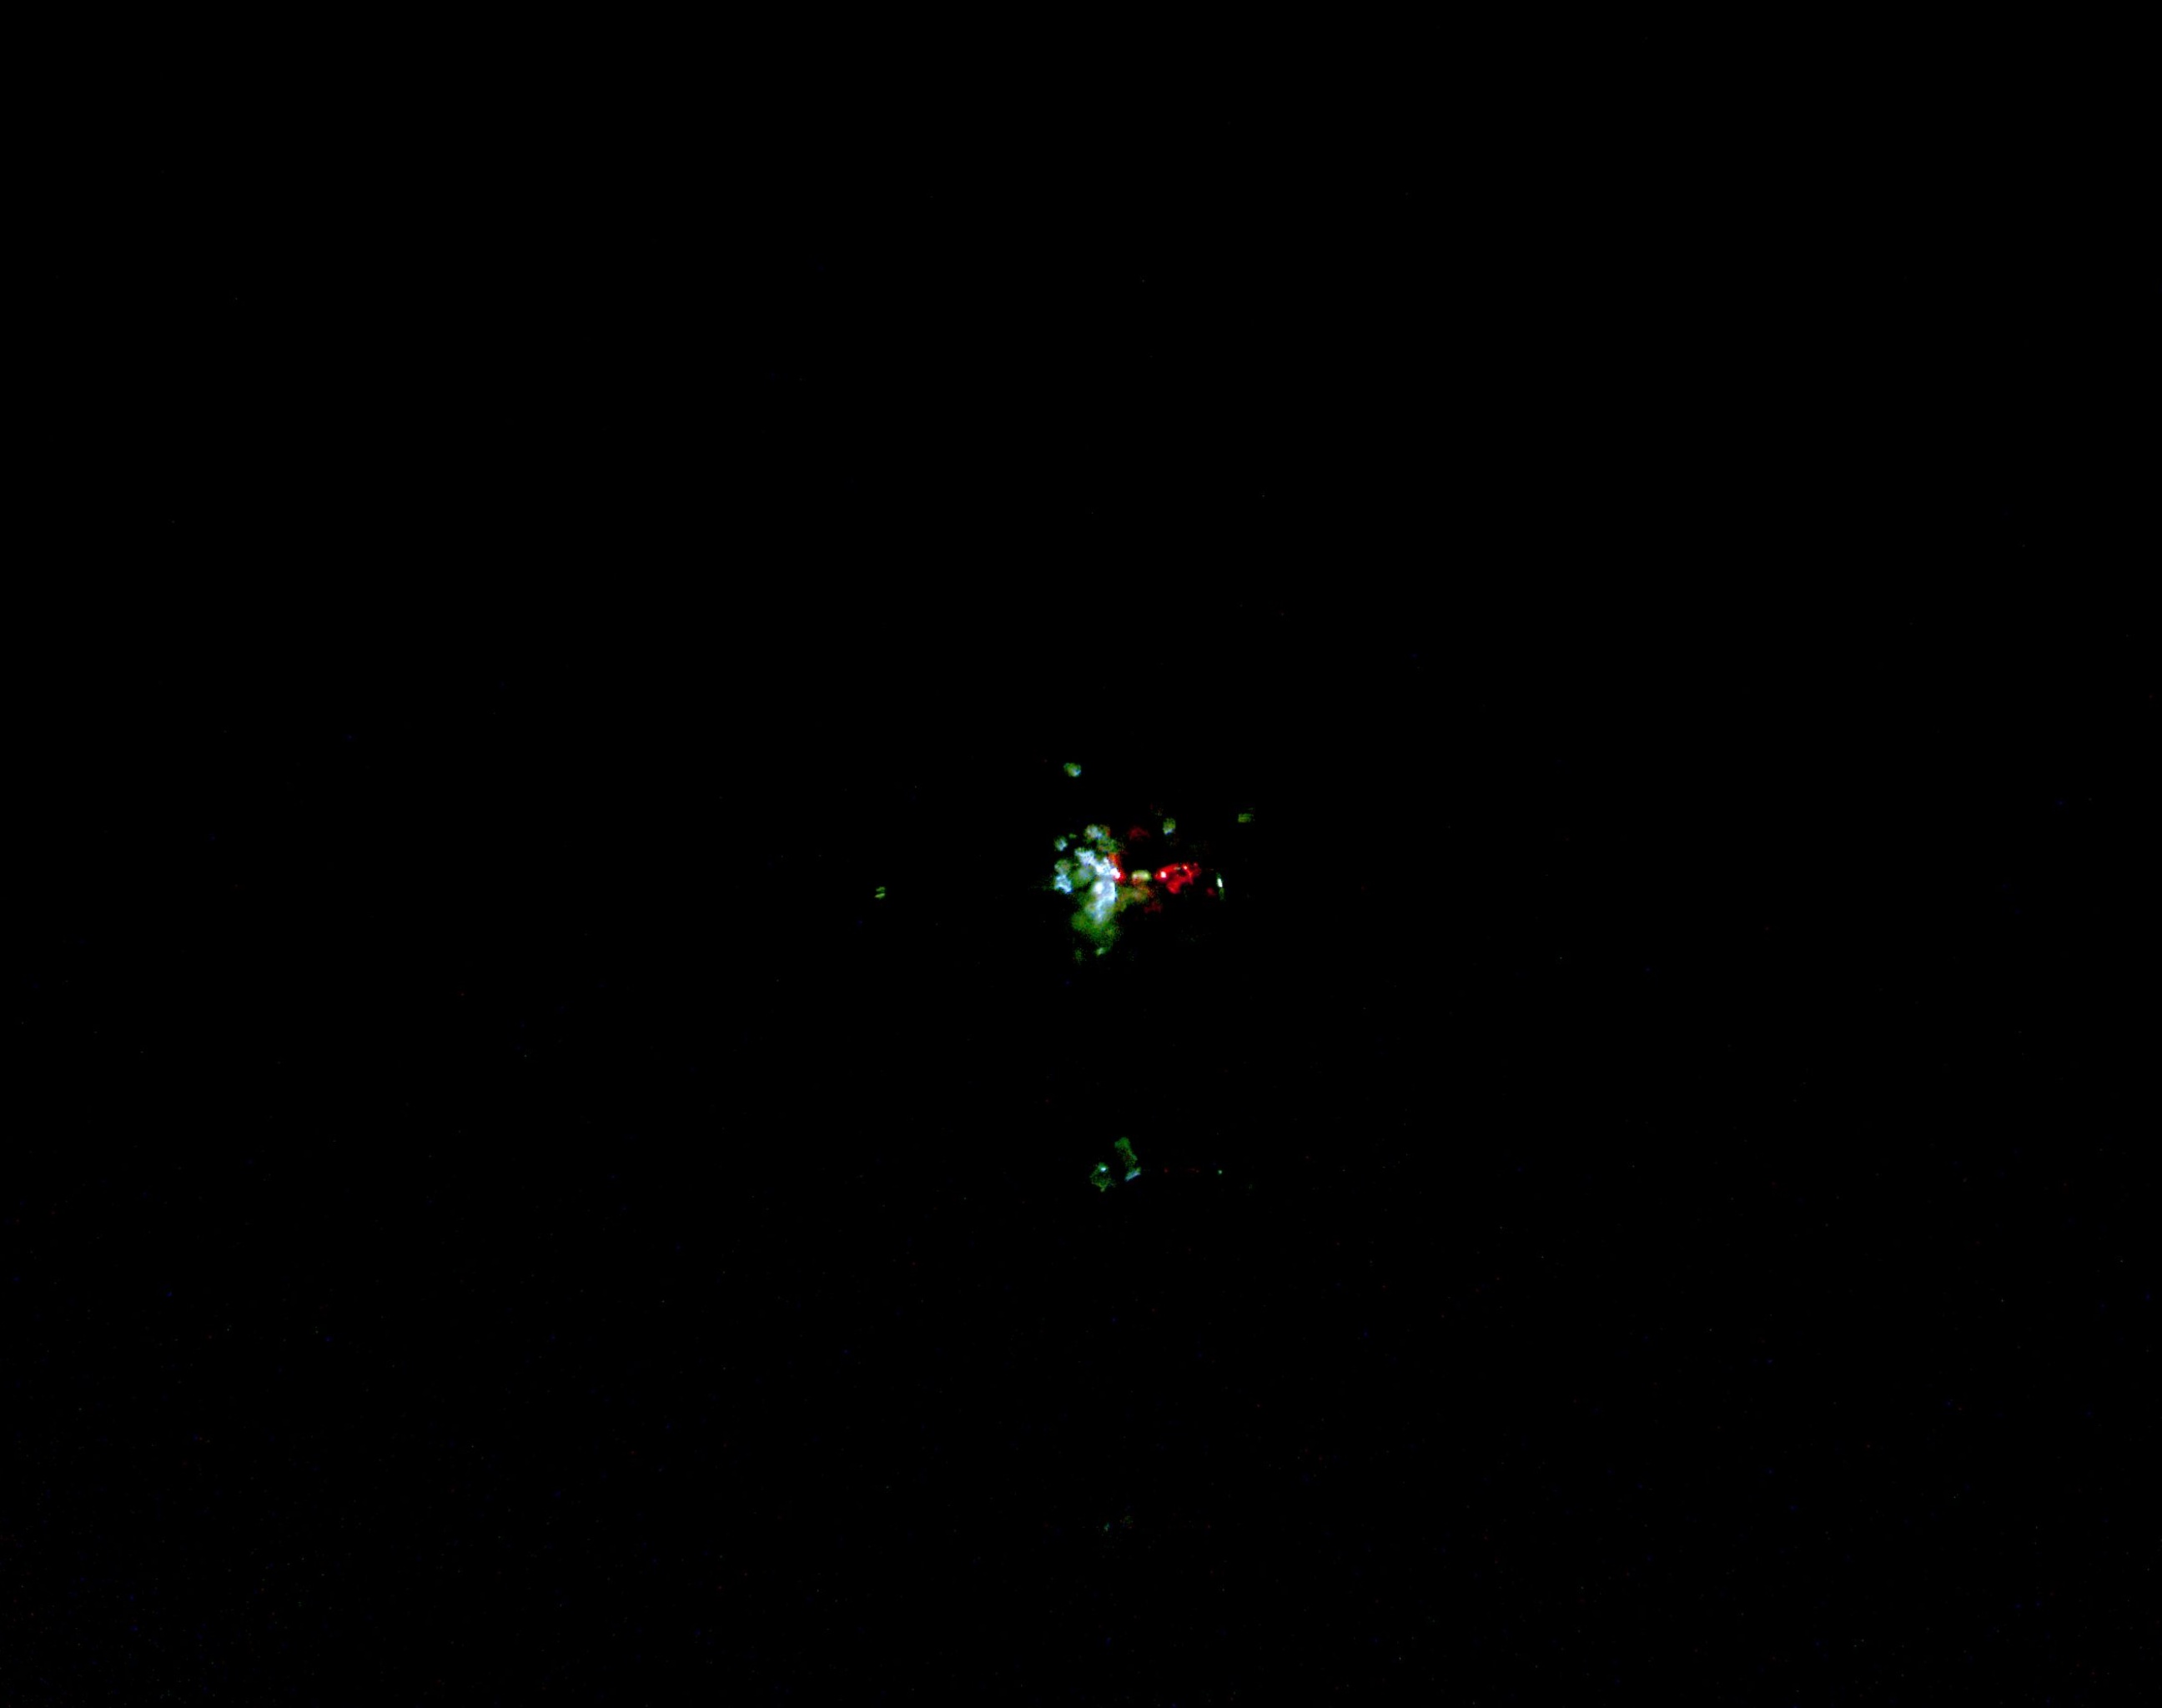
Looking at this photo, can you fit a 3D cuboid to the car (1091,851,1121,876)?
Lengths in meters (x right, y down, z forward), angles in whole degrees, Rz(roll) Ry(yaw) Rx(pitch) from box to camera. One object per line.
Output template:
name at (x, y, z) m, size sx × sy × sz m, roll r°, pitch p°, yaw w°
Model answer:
car at (1.891, 0.697, 59.975) m, size 1.833 × 1.720 × 3.967 m, roll -1°, pitch 0°, yaw 6°

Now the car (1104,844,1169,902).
car at (1.914, 0.628, 29.207) m, size 1.987 × 1.807 × 3.917 m, roll -4°, pitch 0°, yaw 0°
